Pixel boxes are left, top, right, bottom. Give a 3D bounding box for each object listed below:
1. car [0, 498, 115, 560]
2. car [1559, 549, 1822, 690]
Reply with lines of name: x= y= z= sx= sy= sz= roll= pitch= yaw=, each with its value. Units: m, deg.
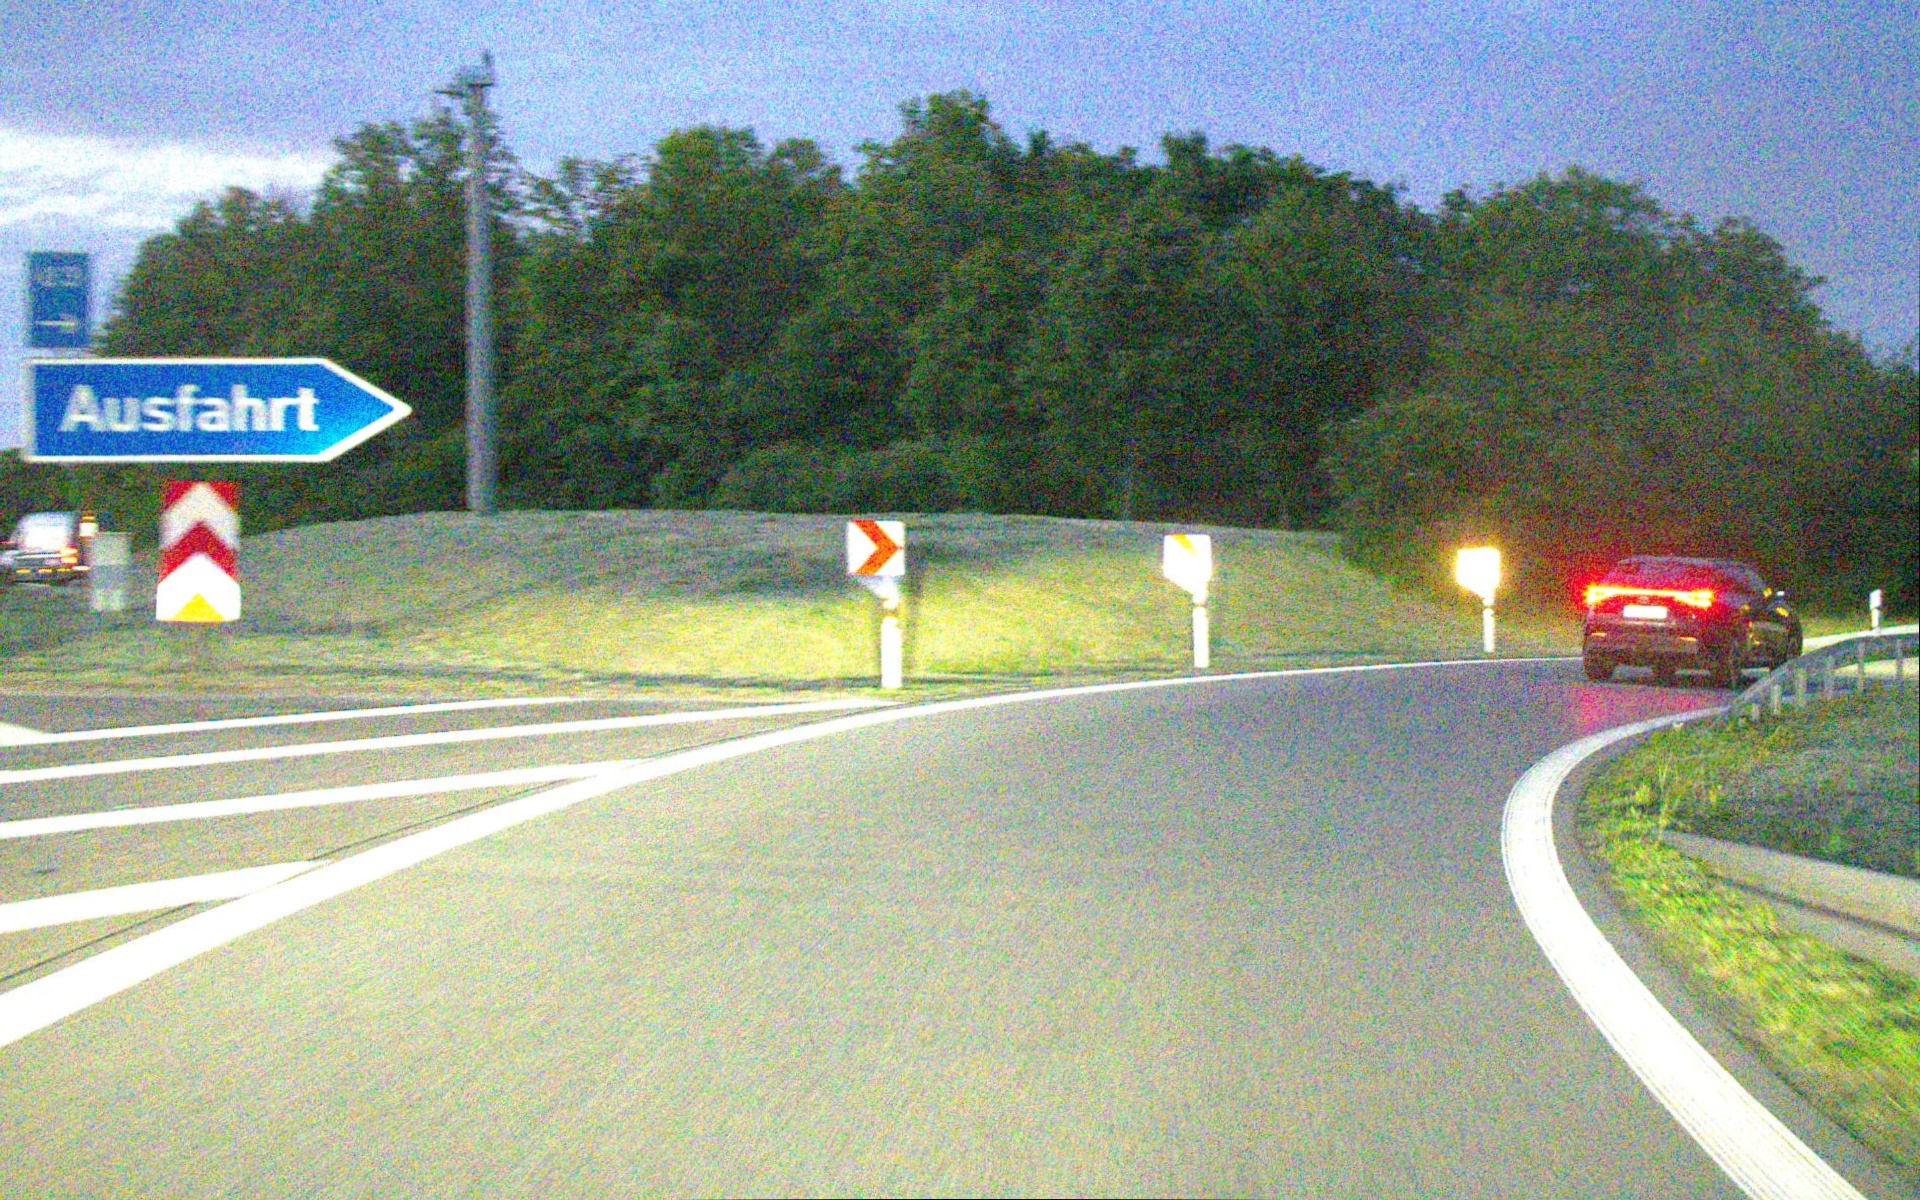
car: x=-30.827 y=-2.397 z=115.309 sx=5.141 sy=2.007 sz=2.263 roll=2 pitch=2 yaw=41
car: x=9.326 y=0.205 z=43.638 sx=1.997 sy=1.653 sz=4.307 roll=2 pitch=1 yaw=30
